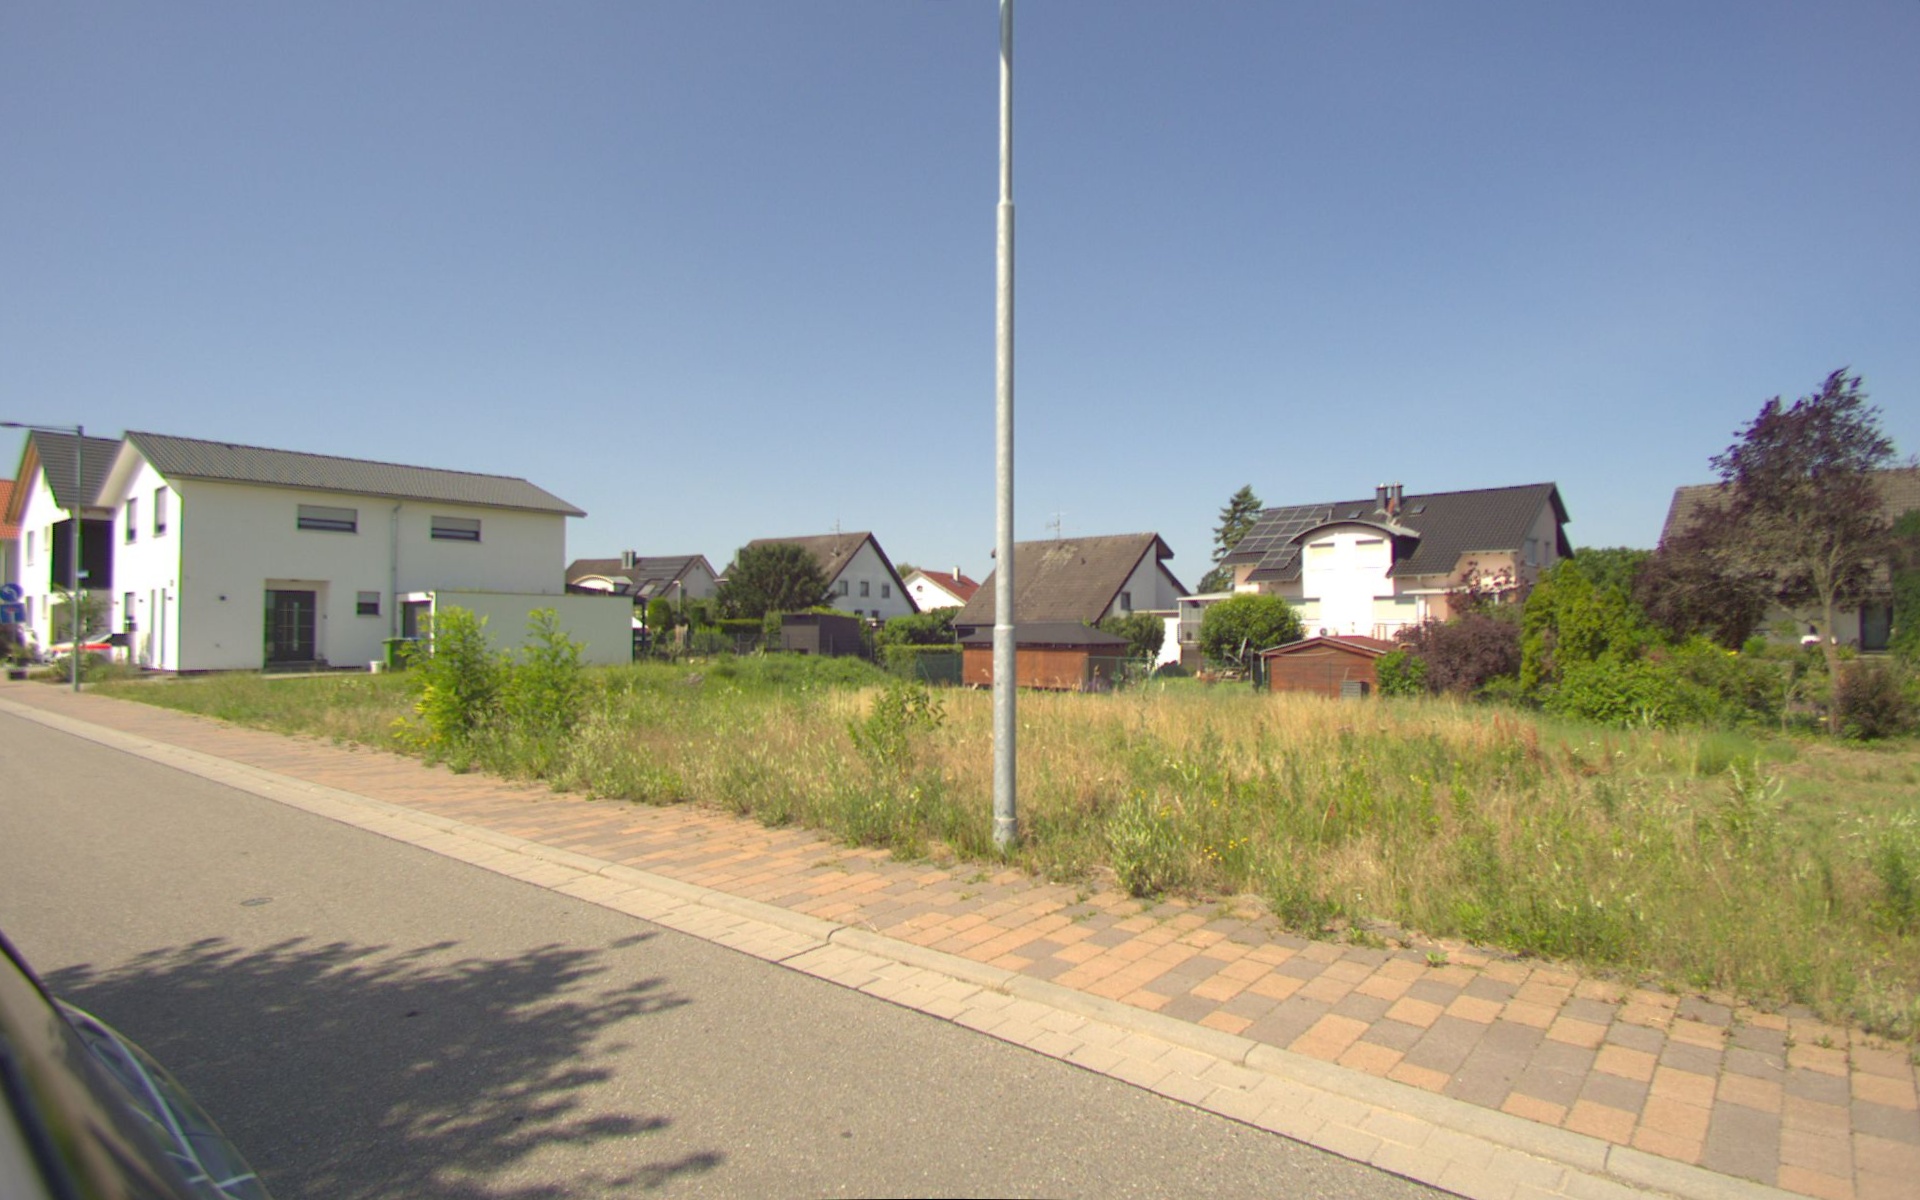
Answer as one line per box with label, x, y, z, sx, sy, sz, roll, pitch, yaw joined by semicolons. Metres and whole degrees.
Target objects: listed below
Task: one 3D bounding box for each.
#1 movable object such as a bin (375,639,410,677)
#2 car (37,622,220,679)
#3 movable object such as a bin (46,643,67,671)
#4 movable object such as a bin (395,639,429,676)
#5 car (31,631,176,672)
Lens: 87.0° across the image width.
movable object such as a bin;-17.214;1.754;30.682;0.784;1.107;0.653;-2;-3;40
car;-29.575;1.768;36.142;1.935;1.889;4.691;-1;-3;37
movable object such as a bin;-37.130;2.344;41.593;0.600;1.100;0.494;-3;-3;36
movable object such as a bin;-16.913;1.770;31.239;0.807;1.107;0.663;-2;-4;41
car;-34.144;2.037;40.443;1.741;1.574;4.116;-2;-3;35
